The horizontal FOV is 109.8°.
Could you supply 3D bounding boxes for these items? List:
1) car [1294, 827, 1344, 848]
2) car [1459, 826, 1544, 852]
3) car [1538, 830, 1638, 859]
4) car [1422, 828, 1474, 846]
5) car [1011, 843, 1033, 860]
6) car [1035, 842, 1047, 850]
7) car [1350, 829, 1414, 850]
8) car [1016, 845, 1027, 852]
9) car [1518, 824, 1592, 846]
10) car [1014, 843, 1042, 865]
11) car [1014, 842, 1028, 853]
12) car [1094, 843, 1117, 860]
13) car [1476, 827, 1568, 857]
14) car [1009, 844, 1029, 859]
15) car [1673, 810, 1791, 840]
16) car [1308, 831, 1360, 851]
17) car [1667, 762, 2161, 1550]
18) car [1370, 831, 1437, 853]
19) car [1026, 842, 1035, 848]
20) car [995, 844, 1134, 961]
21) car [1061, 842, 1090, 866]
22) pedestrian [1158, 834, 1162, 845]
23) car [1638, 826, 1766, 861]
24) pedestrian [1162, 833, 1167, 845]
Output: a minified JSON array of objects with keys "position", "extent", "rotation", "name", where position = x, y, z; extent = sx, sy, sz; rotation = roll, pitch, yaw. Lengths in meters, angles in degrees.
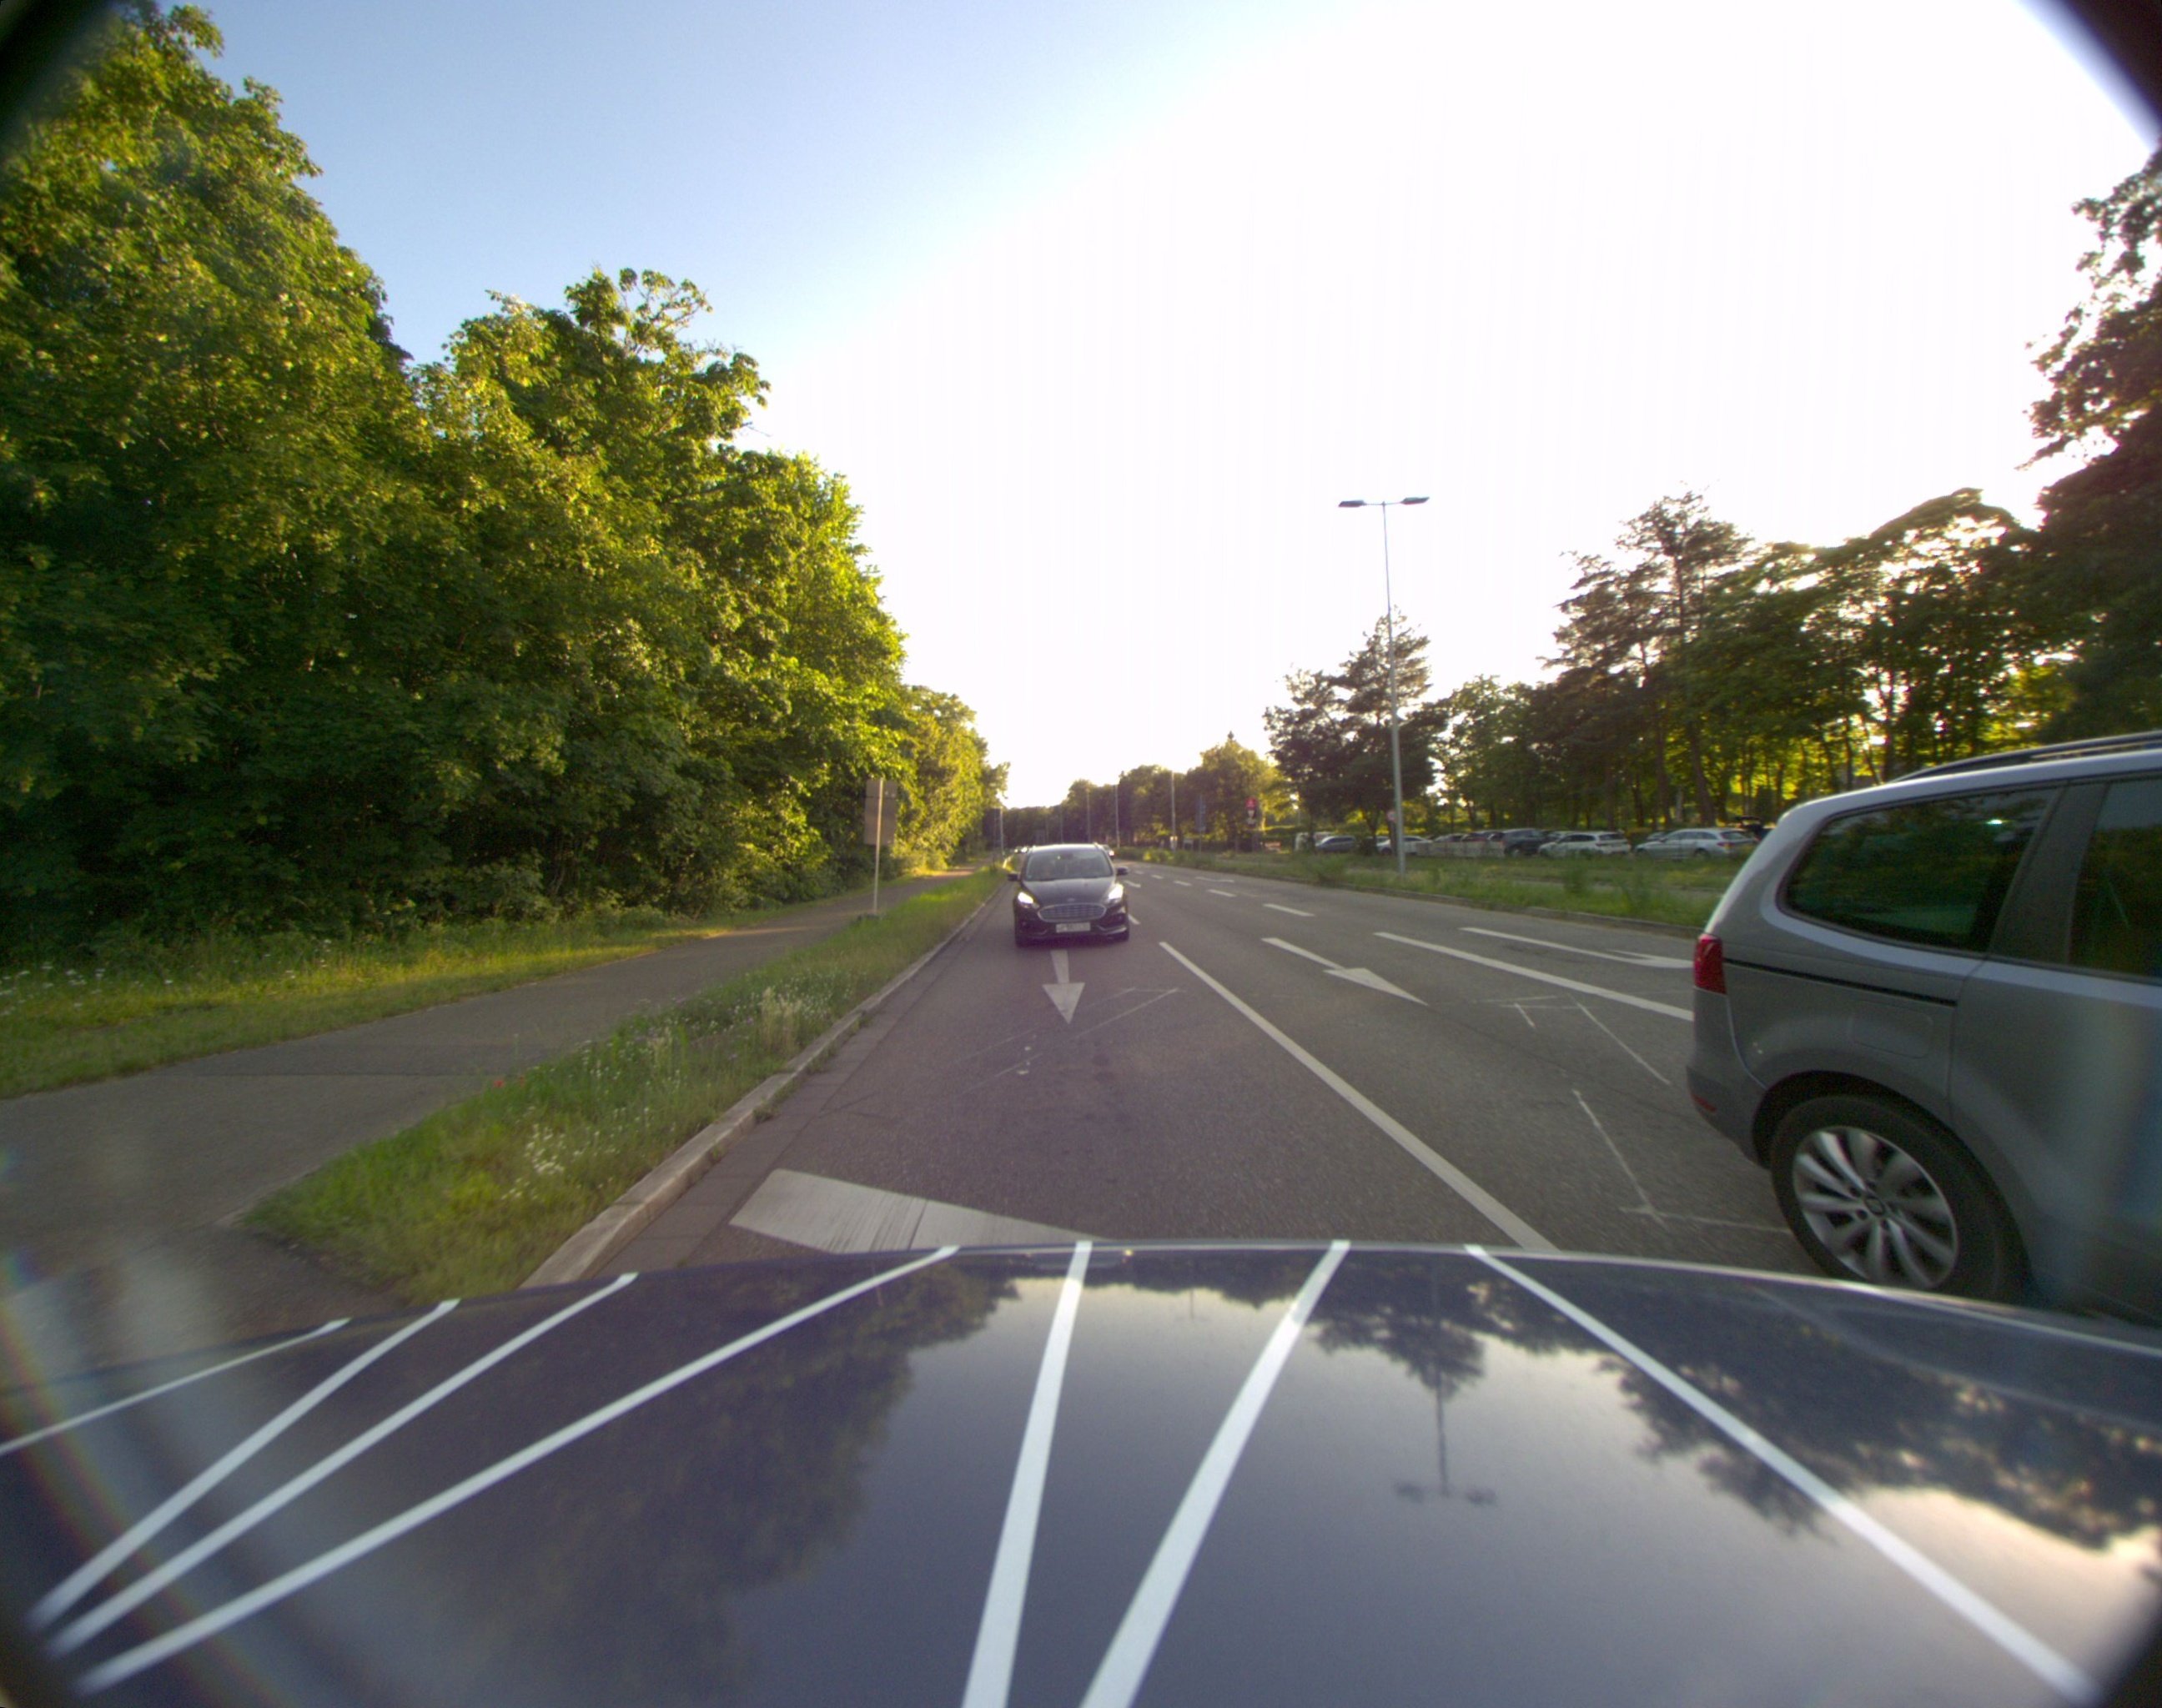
[{"position":[22.035,-1.510,70.513],"extent":[3.997,1.854,1.825],"rotation":[-2,1,-2],"name":"car"},{"position":[25.033,-0.904,45.343],"extent":[3.998,1.445,1.999],"rotation":[-2,1,-4],"name":"car"},{"position":[25.274,-0.501,38.105],"extent":[1.679,1.317,4.496],"rotation":[-2,1,-6],"name":"car"},{"position":[31.061,-1.421,64.473],"extent":[1.865,1.399,4.544],"rotation":[-2,1,-6],"name":"car"},{"position":[-6.130,-0.275,79.526],"extent":[1.999,1.615,4.395],"rotation":[-3,1,-2],"name":"car"},{"position":[-8.193,-1.631,155.220],"extent":[1.872,1.397,4.071],"rotation":[-3,1,-10],"name":"car"},{"position":[23.208,-1.130,58.674],"extent":[4.169,1.470,1.782],"rotation":[-2,1,-5],"name":"car"},{"position":[-13.000,-1.286,166.148],"extent":[1.873,1.397,4.071],"rotation":[-3,1,-13],"name":"car"},{"position":[32.055,-1.270,51.528],"extent":[1.865,1.399,4.544],"rotation":[-2,1,-6],"name":"car"},{"position":[-4.225,-0.032,61.106],"extent":[1.999,1.615,4.395],"rotation":[-3,1,-2],"name":"car"},{"position":[-10.117,-1.135,127.971],"extent":[1.999,1.615,4.395],"rotation":[-3,1,-2],"name":"car"},{"position":[2.244,-0.283,70.479],"extent":[1.871,1.397,4.074],"rotation":[-3,1,-2],"name":"car"},{"position":[24.198,-0.666,41.817],"extent":[4.047,1.470,1.761],"rotation":[-2,1,-1],"name":"car"},{"position":[-7.202,-0.344,88.910],"extent":[1.999,1.615,4.395],"rotation":[-3,1,-2],"name":"car"},{"position":[33.194,-1.428,38.939],"extent":[1.865,1.399,4.544],"rotation":[-2,1,-6],"name":"car"},{"position":[22.406,-1.142,67.442],"extent":[3.997,1.628,1.825],"rotation":[-2,1,-2],"name":"car"},{"position":[3.293,0.651,0.681],"extent":[1.871,1.715,4.658],"rotation":[-1,1,-1],"name":"car"},{"position":[23.633,-0.871,55.789],"extent":[4.169,1.470,1.782],"rotation":[-2,1,-5],"name":"car"},{"position":[-12.771,-2.296,191.374],"extent":[1.746,1.281,3.740],"rotation":[-2,1,-11],"name":"car"},{"position":[-0.285,0.696,13.863],"extent":[2.011,1.652,4.820],"rotation":[-3,1,-1],"name":"car"},{"position":[-0.424,-0.054,57.274],"extent":[1.999,1.615,4.395],"rotation":[-3,1,-2],"name":"car"},{"position":[11.964,-2.176,115.199],"extent":[0.567,1.736,0.676],"rotation":[-3,1,-1],"name":"pedestrian"},{"position":[25.820,-0.431,31.772],"extent":[1.865,1.324,3.997],"rotation":[-2,1,-6],"name":"car"},{"position":[12.700,-2.230,115.215],"extent":[0.567,1.765,0.676],"rotation":[-3,1,-1],"name":"pedestrian"}]
